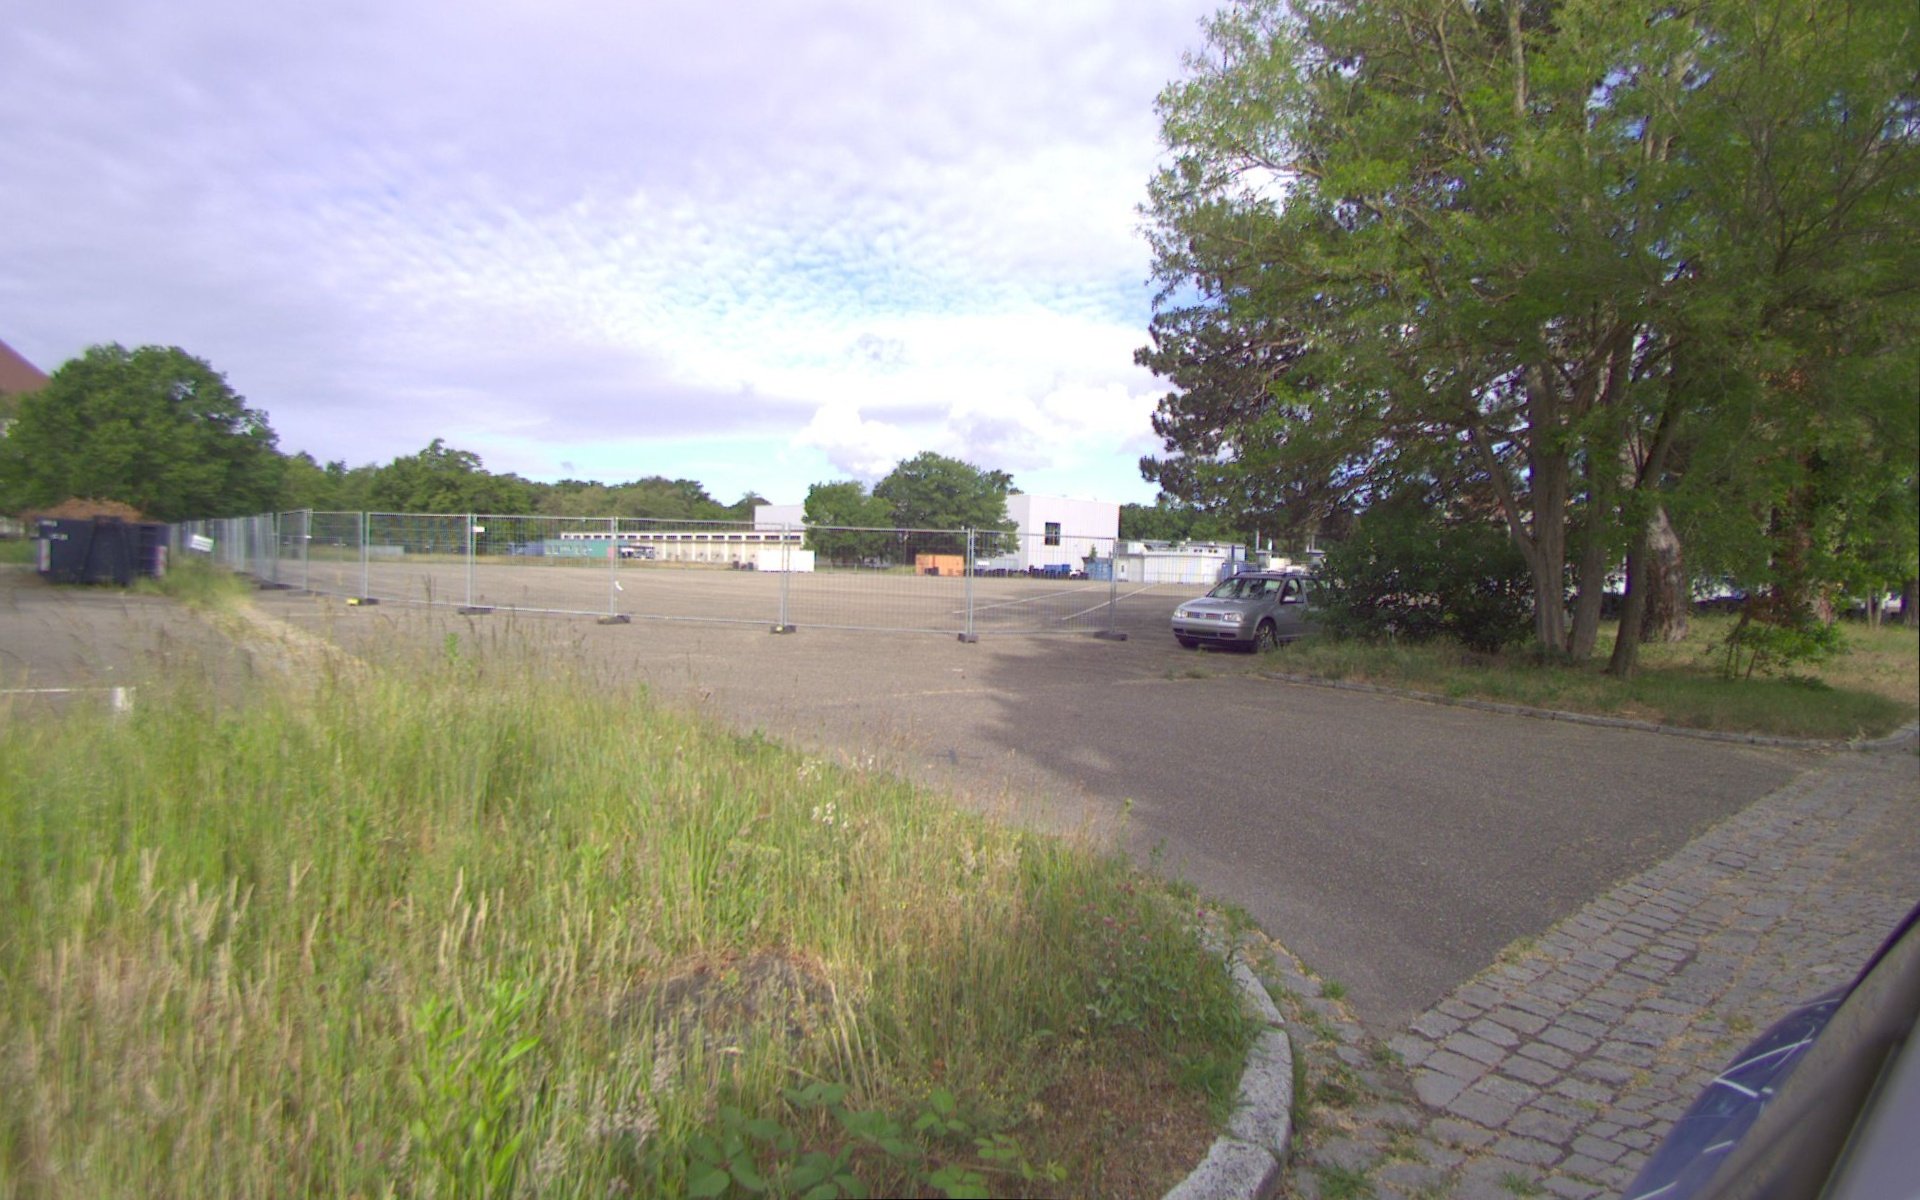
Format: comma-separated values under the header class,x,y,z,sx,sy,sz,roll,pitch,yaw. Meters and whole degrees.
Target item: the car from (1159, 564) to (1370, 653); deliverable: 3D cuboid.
class,x,y,z,sx,sy,sz,roll,pitch,yaw
car,5.804,0.124,19.078,4.251,1.466,1.759,0,3,-41
